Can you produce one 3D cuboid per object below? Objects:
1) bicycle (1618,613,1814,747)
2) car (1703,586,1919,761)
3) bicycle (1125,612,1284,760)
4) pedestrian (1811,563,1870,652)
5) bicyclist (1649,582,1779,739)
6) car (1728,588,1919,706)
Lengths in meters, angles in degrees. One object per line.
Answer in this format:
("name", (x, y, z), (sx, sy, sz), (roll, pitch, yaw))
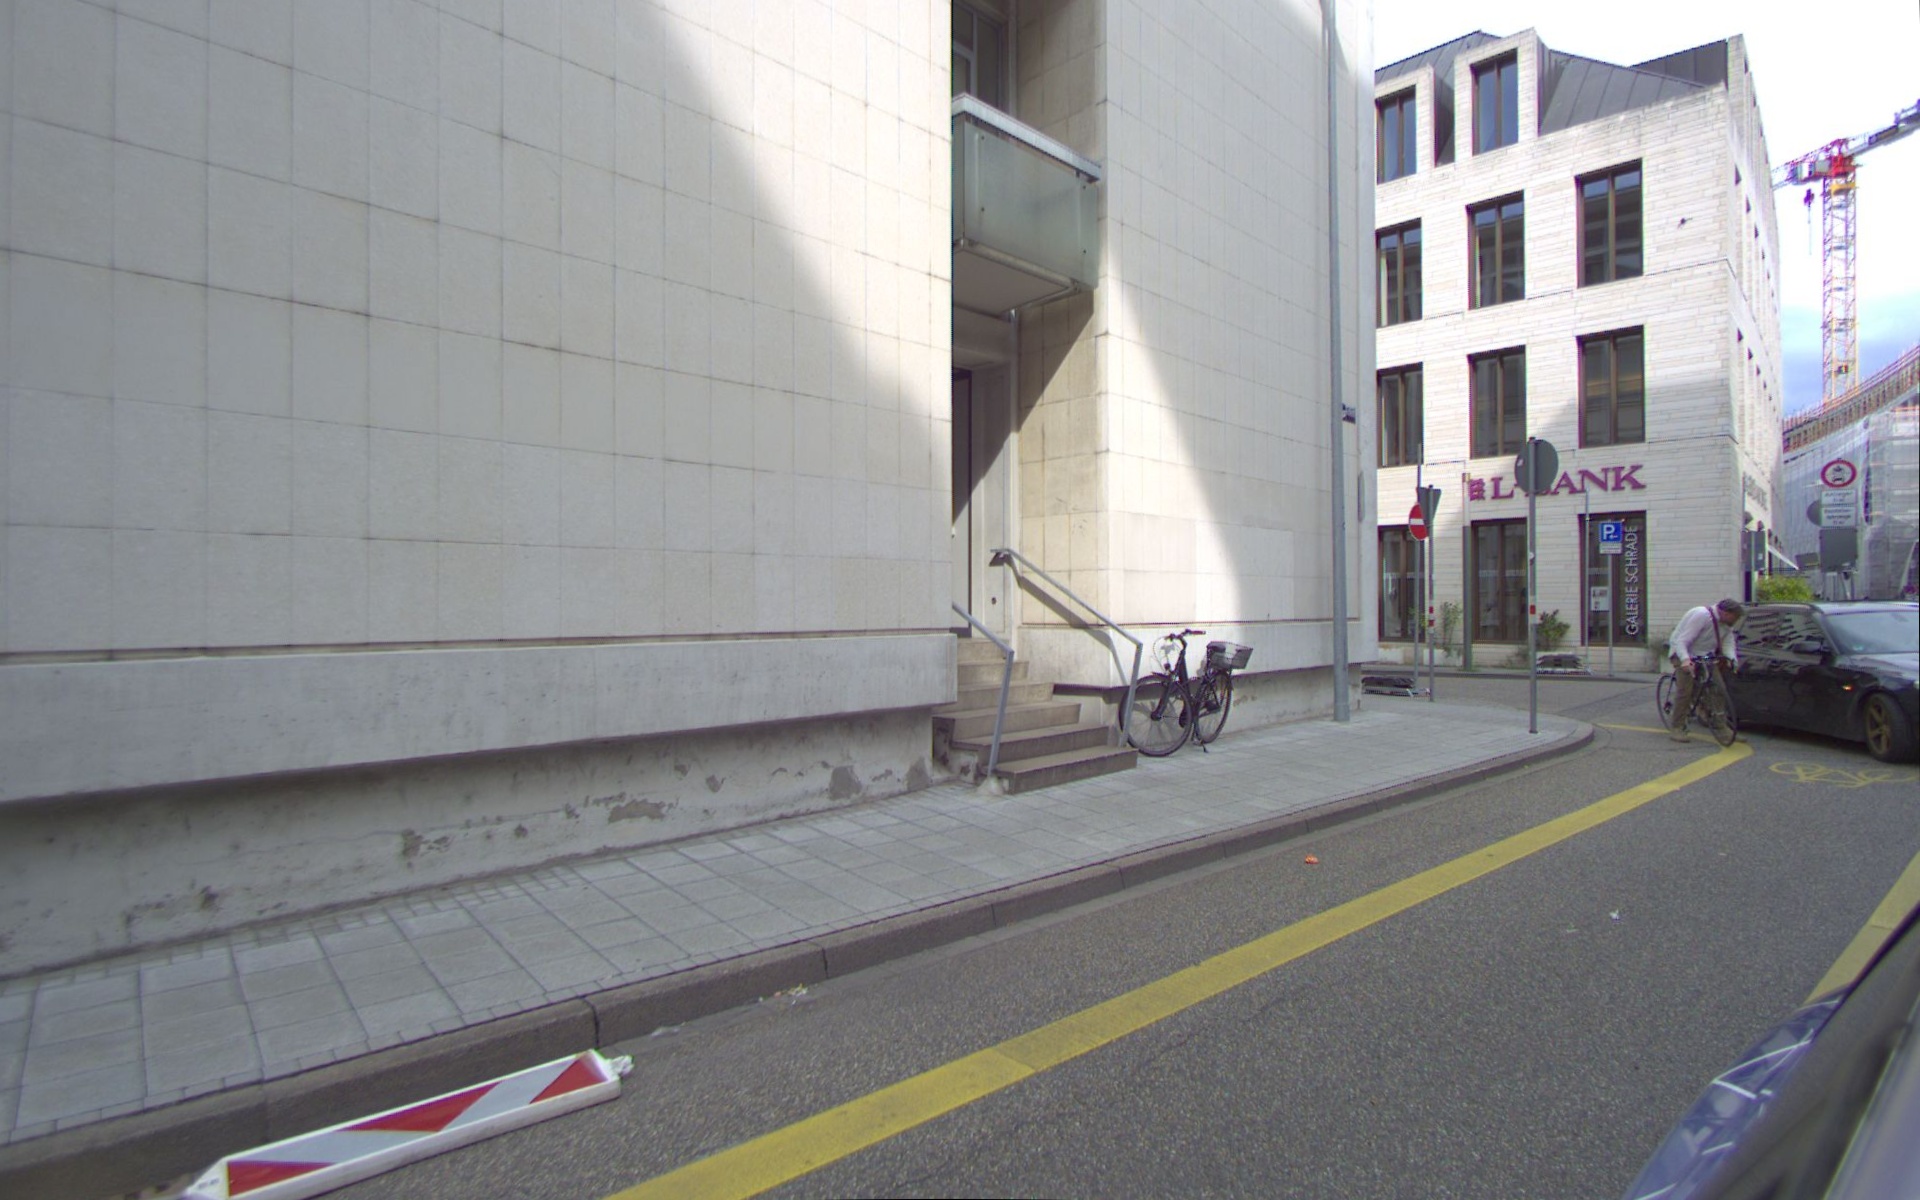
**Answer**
("bicycle", (8.184, 0.786, 11.153), (0.860, 1.209, 2.847), (0, 0, 18))
("car", (9.374, 0.624, 10.046), (1.690, 1.509, 3.754), (-1, 0, 10))
("bicycle", (2.271, 0.722, 9.244), (0.588, 1.182, 1.786), (0, 0, 44))
("pedestrian", (18.771, 0.153, 21.590), (0.767, 1.854, 0.853), (0, 0, 29))
("bicyclist", (8.126, 0.614, 10.959), (0.881, 1.614, 0.872), (0, 0, 19))
("car", (13.742, 0.635, 14.306), (1.784, 1.601, 4.357), (-1, 0, -42))
